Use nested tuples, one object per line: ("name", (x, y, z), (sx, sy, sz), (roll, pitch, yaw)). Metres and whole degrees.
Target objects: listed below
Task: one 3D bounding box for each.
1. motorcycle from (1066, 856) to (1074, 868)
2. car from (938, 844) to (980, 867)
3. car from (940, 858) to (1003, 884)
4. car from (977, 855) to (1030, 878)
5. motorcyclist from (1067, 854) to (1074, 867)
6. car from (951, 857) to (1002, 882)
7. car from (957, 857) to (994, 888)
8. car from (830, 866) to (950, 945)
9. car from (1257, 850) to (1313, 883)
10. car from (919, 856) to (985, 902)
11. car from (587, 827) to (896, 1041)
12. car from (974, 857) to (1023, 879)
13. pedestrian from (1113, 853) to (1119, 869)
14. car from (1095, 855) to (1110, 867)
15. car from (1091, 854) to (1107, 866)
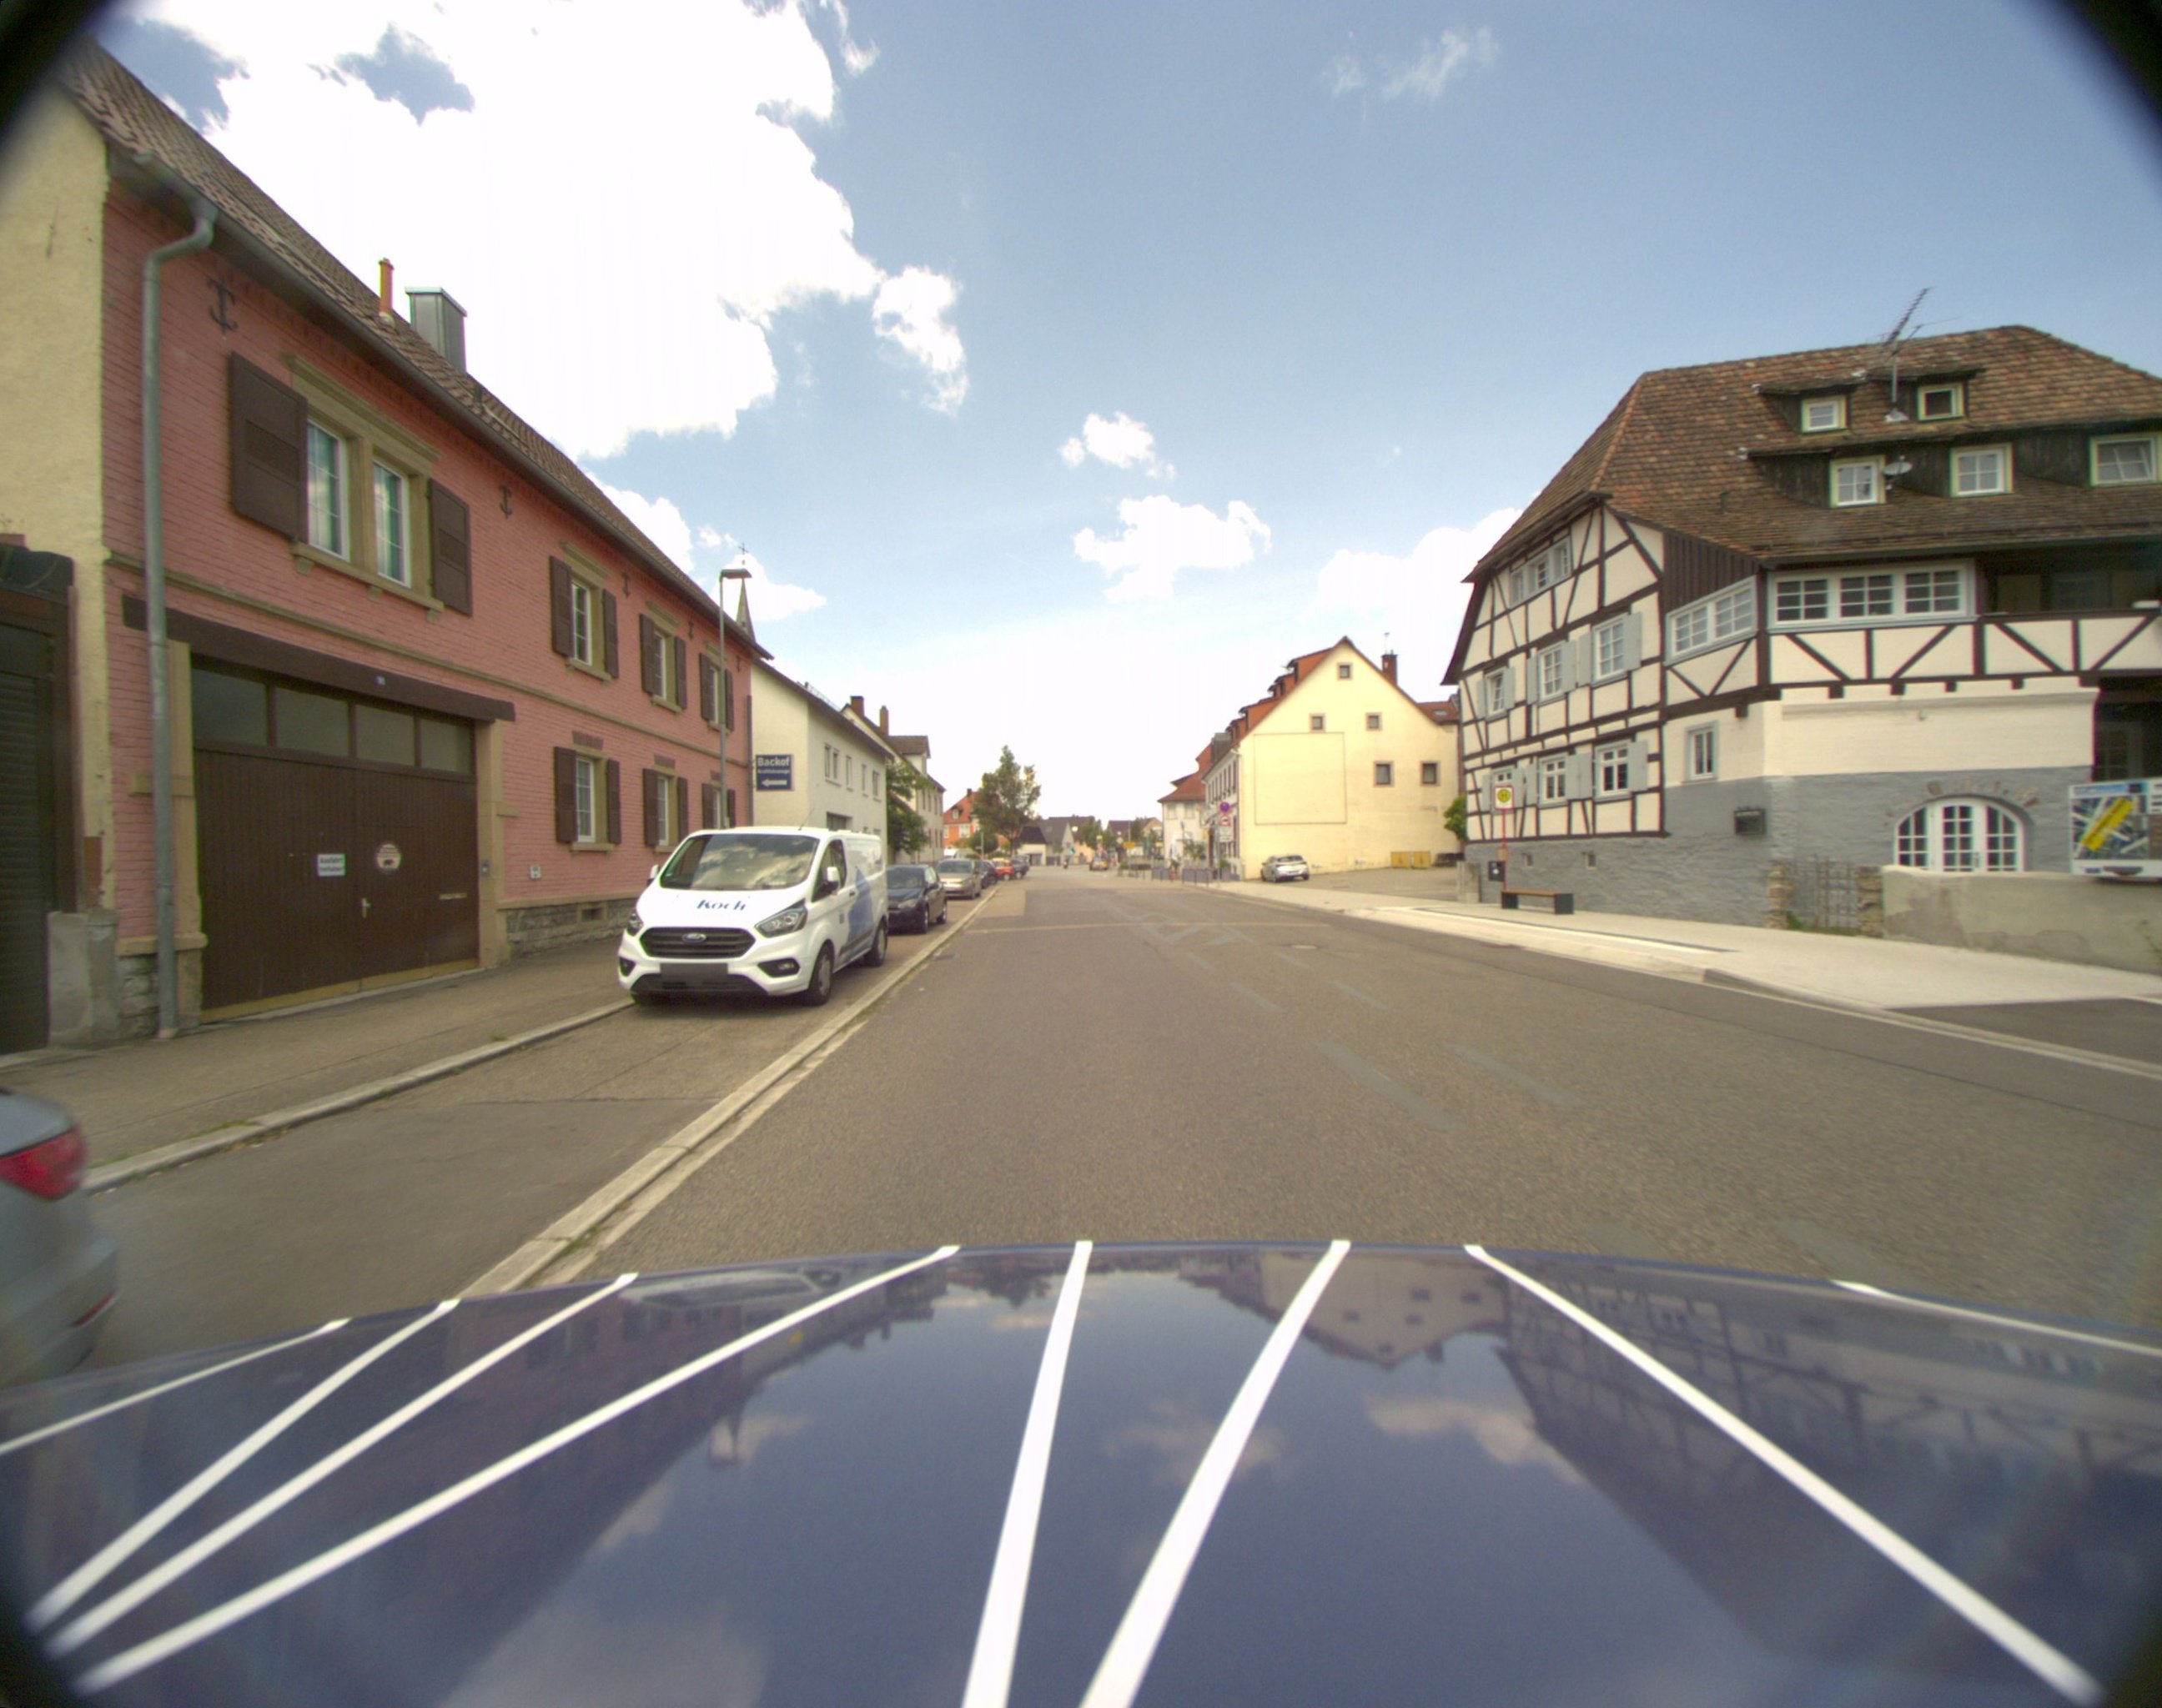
("motorcycle", (-1.647, 1.207, 114.765), (1.133, 1.609, 3.999), (0, 1, 1))
("car", (-15.847, 0.132, 99.398), (2.756, 2.946, 7.121), (0, 1, 16))
("car", (-6.516, 0.986, 45.286), (3.242, 1.496, 1.822), (1, 0, -28))
("car", (-5.822, 0.903, 57.074), (3.860, 1.569, 1.849), (1, 3, -5))
("motorcyclist", (-1.619, 0.959, 114.656), (1.048, 1.935, 1.248), (0, 1, 1))
("car", (-6.611, 0.974, 48.083), (2.792, 1.496, 1.874), (-1, 0, -25))
("car", (-5.716, 0.975, 41.627), (1.667, 1.615, 4.270), (0, 0, -3))
("car", (-4.163, 1.069, 17.254), (1.779, 1.486, 4.161), (1, 0, -2))
("car", (10.837, 0.617, 40.604), (1.762, 1.484, 4.275), (-6, 1, 1))
("car", (-5.055, 0.945, 30.277), (1.999, 1.671, 4.322), (-1, 0, -2))
("car", (-3.763, 0.757, 9.556), (1.897, 1.970, 4.929), (1, 0, -4))
("car", (-5.911, 0.973, 54.603), (3.386, 1.568, 1.726), (0, 0, -2))
("pedestrian", (3.694, 0.748, 80.186), (0.640, 1.619, 0.620), (-1, 1, 1))
("car", (2.590, 0.842, 91.059), (1.672, 1.466, 3.963), (-1, 0, 0))
("car", (2.315, 0.717, 96.439), (1.820, 1.415, 4.538), (-1, 0, 3))
